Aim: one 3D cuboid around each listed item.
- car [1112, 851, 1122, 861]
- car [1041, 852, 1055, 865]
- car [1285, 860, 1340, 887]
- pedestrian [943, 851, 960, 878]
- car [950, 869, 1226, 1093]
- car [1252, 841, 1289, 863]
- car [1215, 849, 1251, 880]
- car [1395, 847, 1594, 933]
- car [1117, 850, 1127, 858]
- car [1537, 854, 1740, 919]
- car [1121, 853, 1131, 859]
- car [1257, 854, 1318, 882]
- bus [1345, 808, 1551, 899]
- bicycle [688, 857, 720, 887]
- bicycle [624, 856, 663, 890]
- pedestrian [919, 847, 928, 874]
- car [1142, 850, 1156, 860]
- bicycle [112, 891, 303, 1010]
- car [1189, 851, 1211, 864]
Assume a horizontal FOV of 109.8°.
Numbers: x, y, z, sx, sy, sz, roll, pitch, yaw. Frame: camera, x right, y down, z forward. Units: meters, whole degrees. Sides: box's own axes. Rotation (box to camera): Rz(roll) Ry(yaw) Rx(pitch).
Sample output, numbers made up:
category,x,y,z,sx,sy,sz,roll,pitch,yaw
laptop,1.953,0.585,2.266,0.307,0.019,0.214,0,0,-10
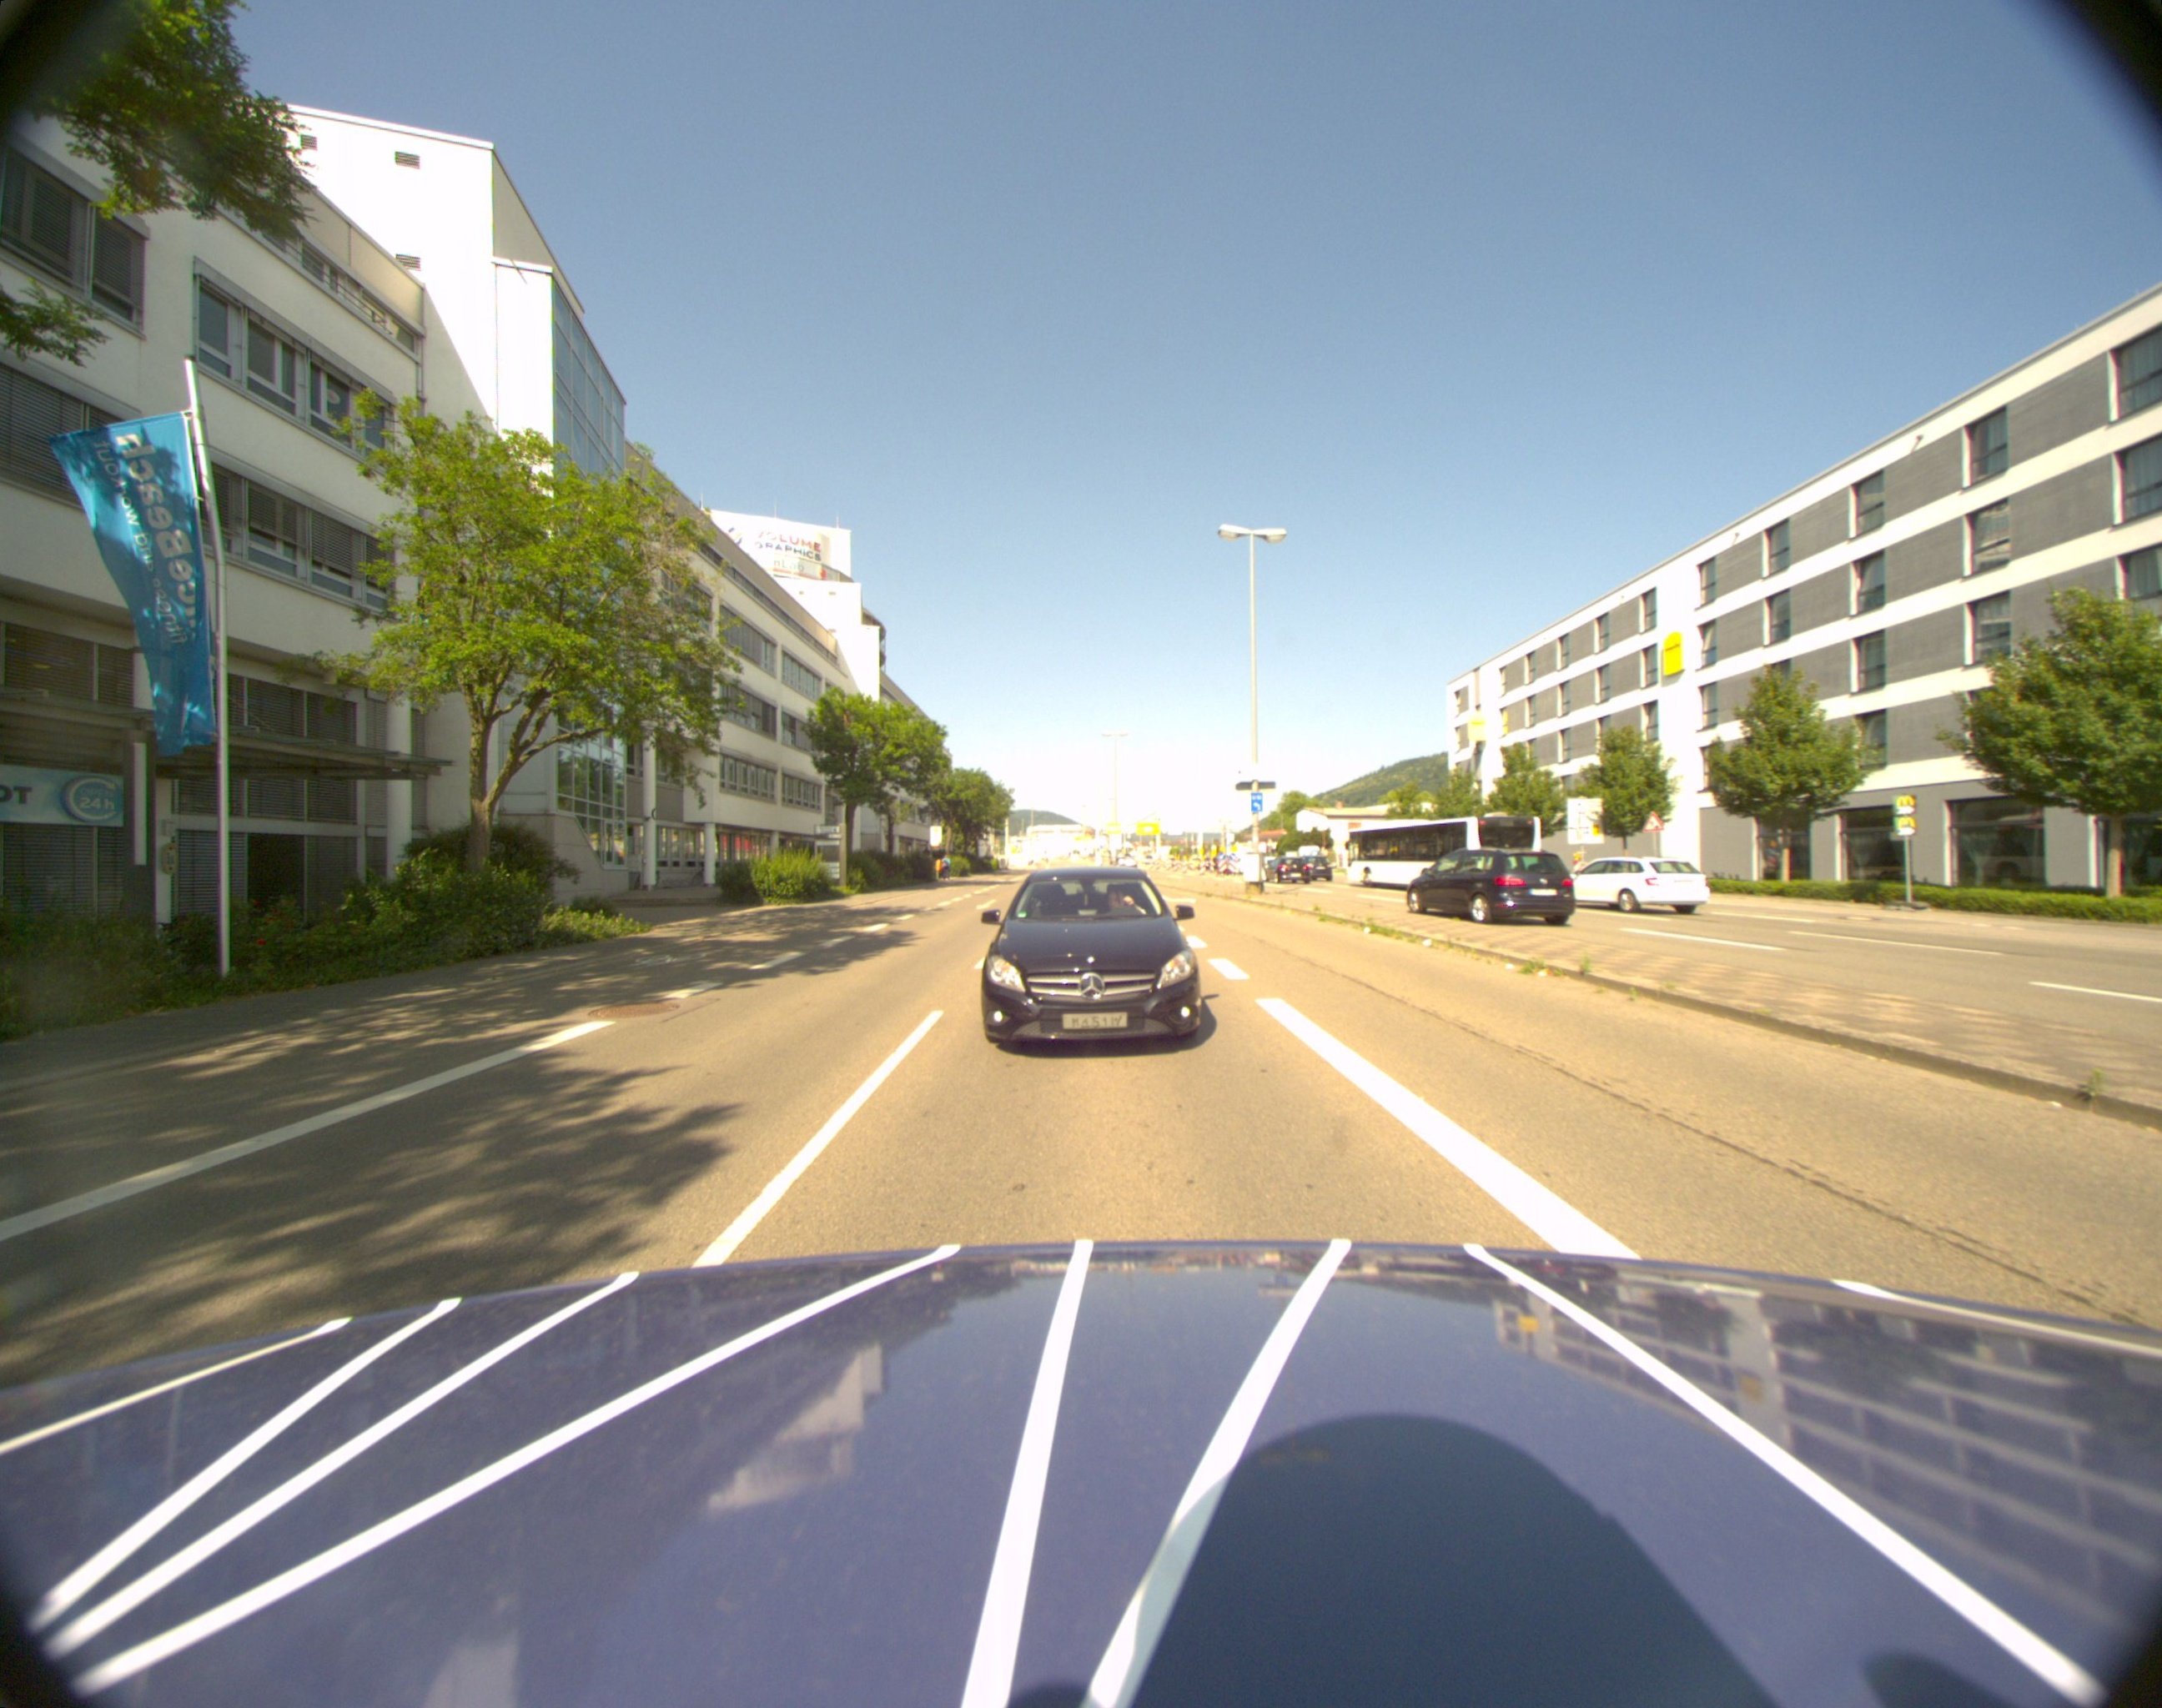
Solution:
category,x,y,z,sx,sy,sz,roll,pitch,yaw
car,7.699,0.478,162.440,1.998,2.002,3.999,-2,1,1
car,-5.671,0.726,132.046,1.998,2.002,4.000,-2,1,2
car,14.429,1.191,47.672,1.998,1.514,4.891,-1,0,1
pedestrian,-9.193,0.755,53.918,0.942,1.875,1.289,2,1,0
car,0.073,0.932,7.637,1.905,1.431,4.693,-1,0,1
car,13.614,-0.171,54.781,1.763,1.443,3.999,-2,1,1
car,10.733,0.676,53.785,1.679,2.002,4.164,-2,1,1
car,8.702,0.674,16.471,1.891,1.608,4.133,-1,0,-3
car,11.029,-0.087,203.698,1.999,2.002,3.998,-1,0,-4
car,14.910,0.797,20.701,1.999,1.477,4.410,2,1,-5
car,10.833,0.368,182.265,1.815,1.328,3.937,-3,0,-3
car,11.281,0.725,41.864,1.998,1.424,4.890,-1,0,0
bus,14.639,-0.043,31.952,2.745,3.061,11.974,1,0,0
bicycle,-17.720,0.815,35.758,0.506,1.346,1.884,-1,0,1
bicycle,-18.060,0.767,31.403,0.506,1.346,1.884,-1,0,1
pedestrian,-15.070,0.647,72.624,0.717,2.534,0.716,-1,1,-1
car,12.151,0.188,135.875,1.998,1.702,4.892,-1,-1,1
bicycle,-11.283,1.188,9.922,0.506,1.321,1.883,0,0,-8
car,14.784,0.449,94.477,1.998,1.514,4.891,-1,0,1
